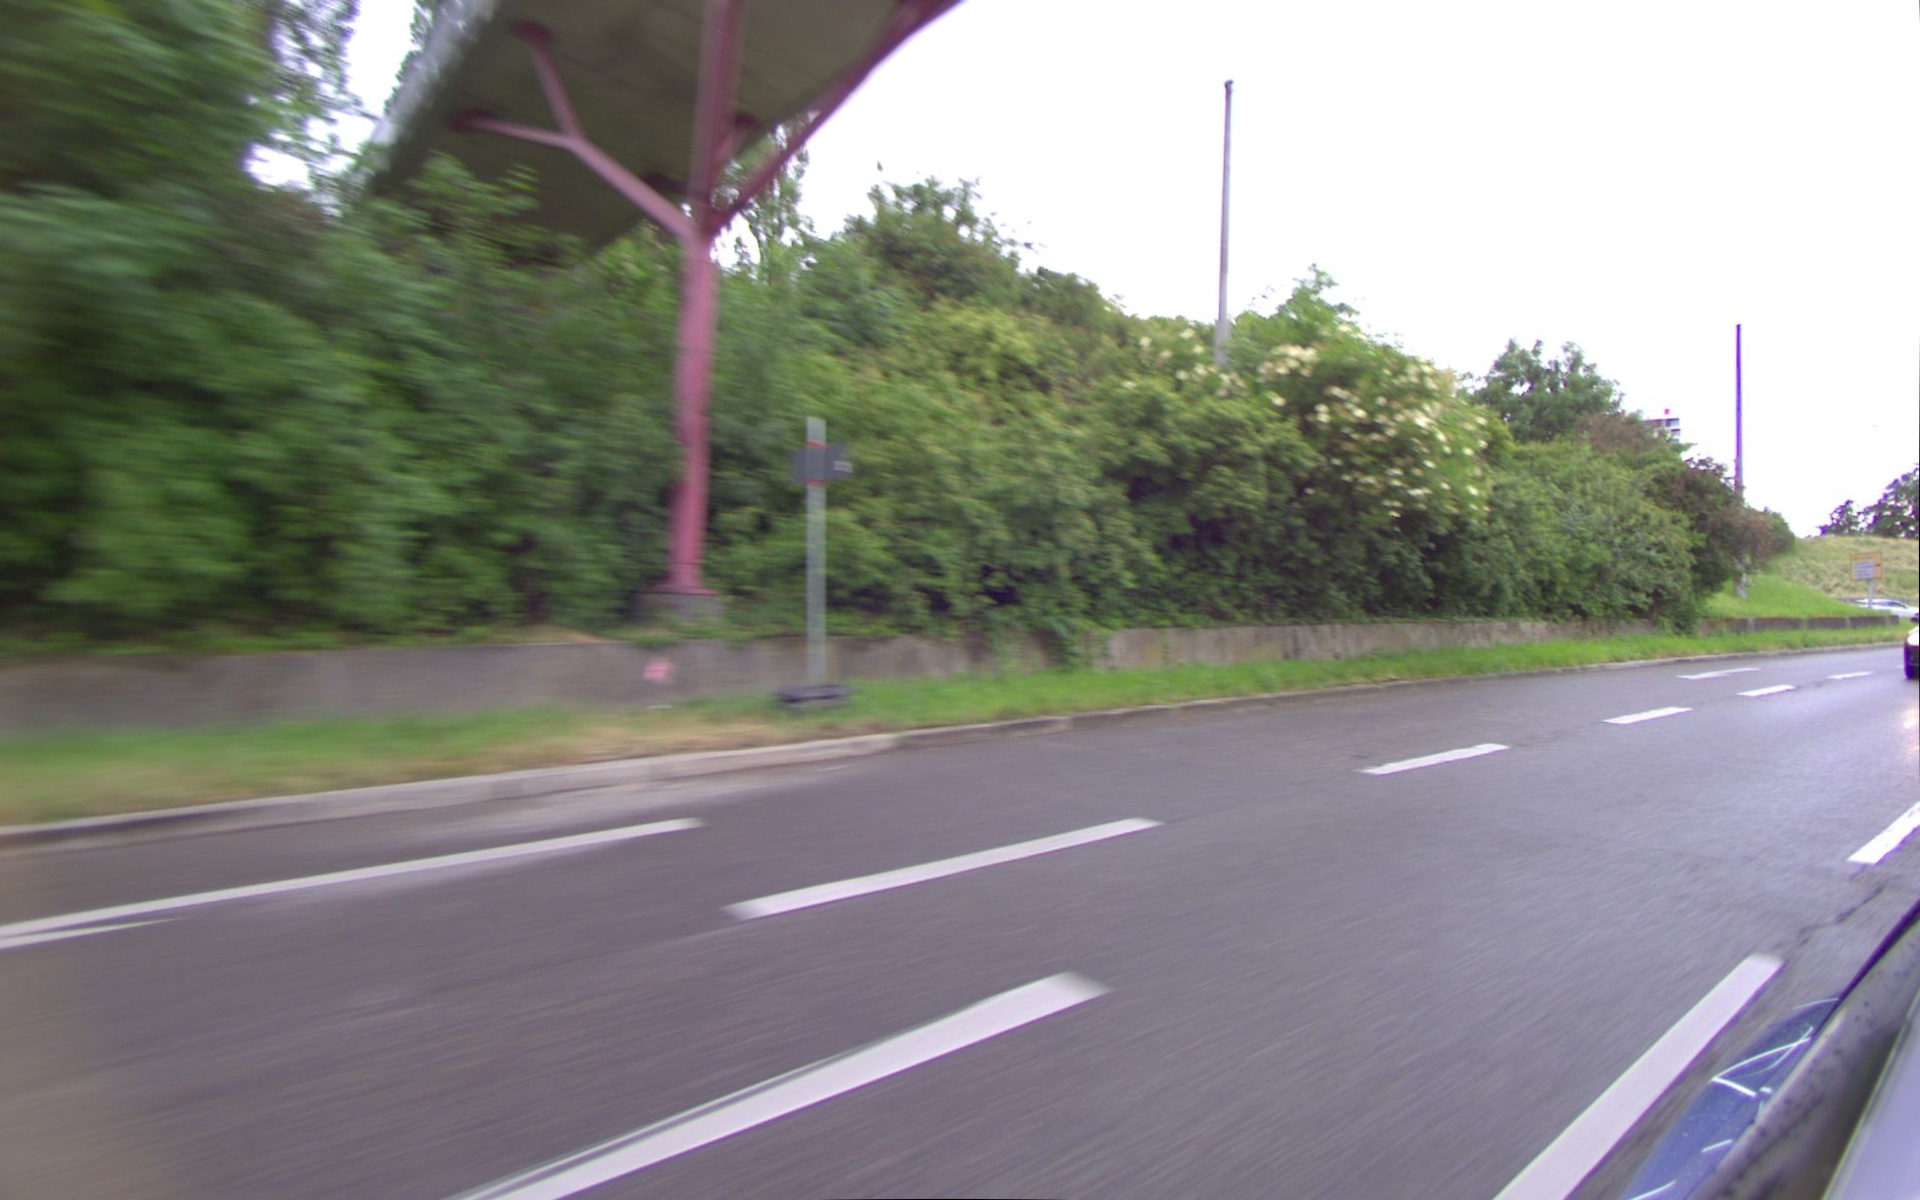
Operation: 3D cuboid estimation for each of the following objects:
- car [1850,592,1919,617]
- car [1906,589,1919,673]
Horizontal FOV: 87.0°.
[{"bbox_3d":[60.444,0.305,65.145,4.201,1.447,2.070,1,-1,9],"label":"car"},{"bbox_3d":[20.555,0.575,19.978,4.198,1.621,1.929,-1,0,-35],"label":"car"}]
